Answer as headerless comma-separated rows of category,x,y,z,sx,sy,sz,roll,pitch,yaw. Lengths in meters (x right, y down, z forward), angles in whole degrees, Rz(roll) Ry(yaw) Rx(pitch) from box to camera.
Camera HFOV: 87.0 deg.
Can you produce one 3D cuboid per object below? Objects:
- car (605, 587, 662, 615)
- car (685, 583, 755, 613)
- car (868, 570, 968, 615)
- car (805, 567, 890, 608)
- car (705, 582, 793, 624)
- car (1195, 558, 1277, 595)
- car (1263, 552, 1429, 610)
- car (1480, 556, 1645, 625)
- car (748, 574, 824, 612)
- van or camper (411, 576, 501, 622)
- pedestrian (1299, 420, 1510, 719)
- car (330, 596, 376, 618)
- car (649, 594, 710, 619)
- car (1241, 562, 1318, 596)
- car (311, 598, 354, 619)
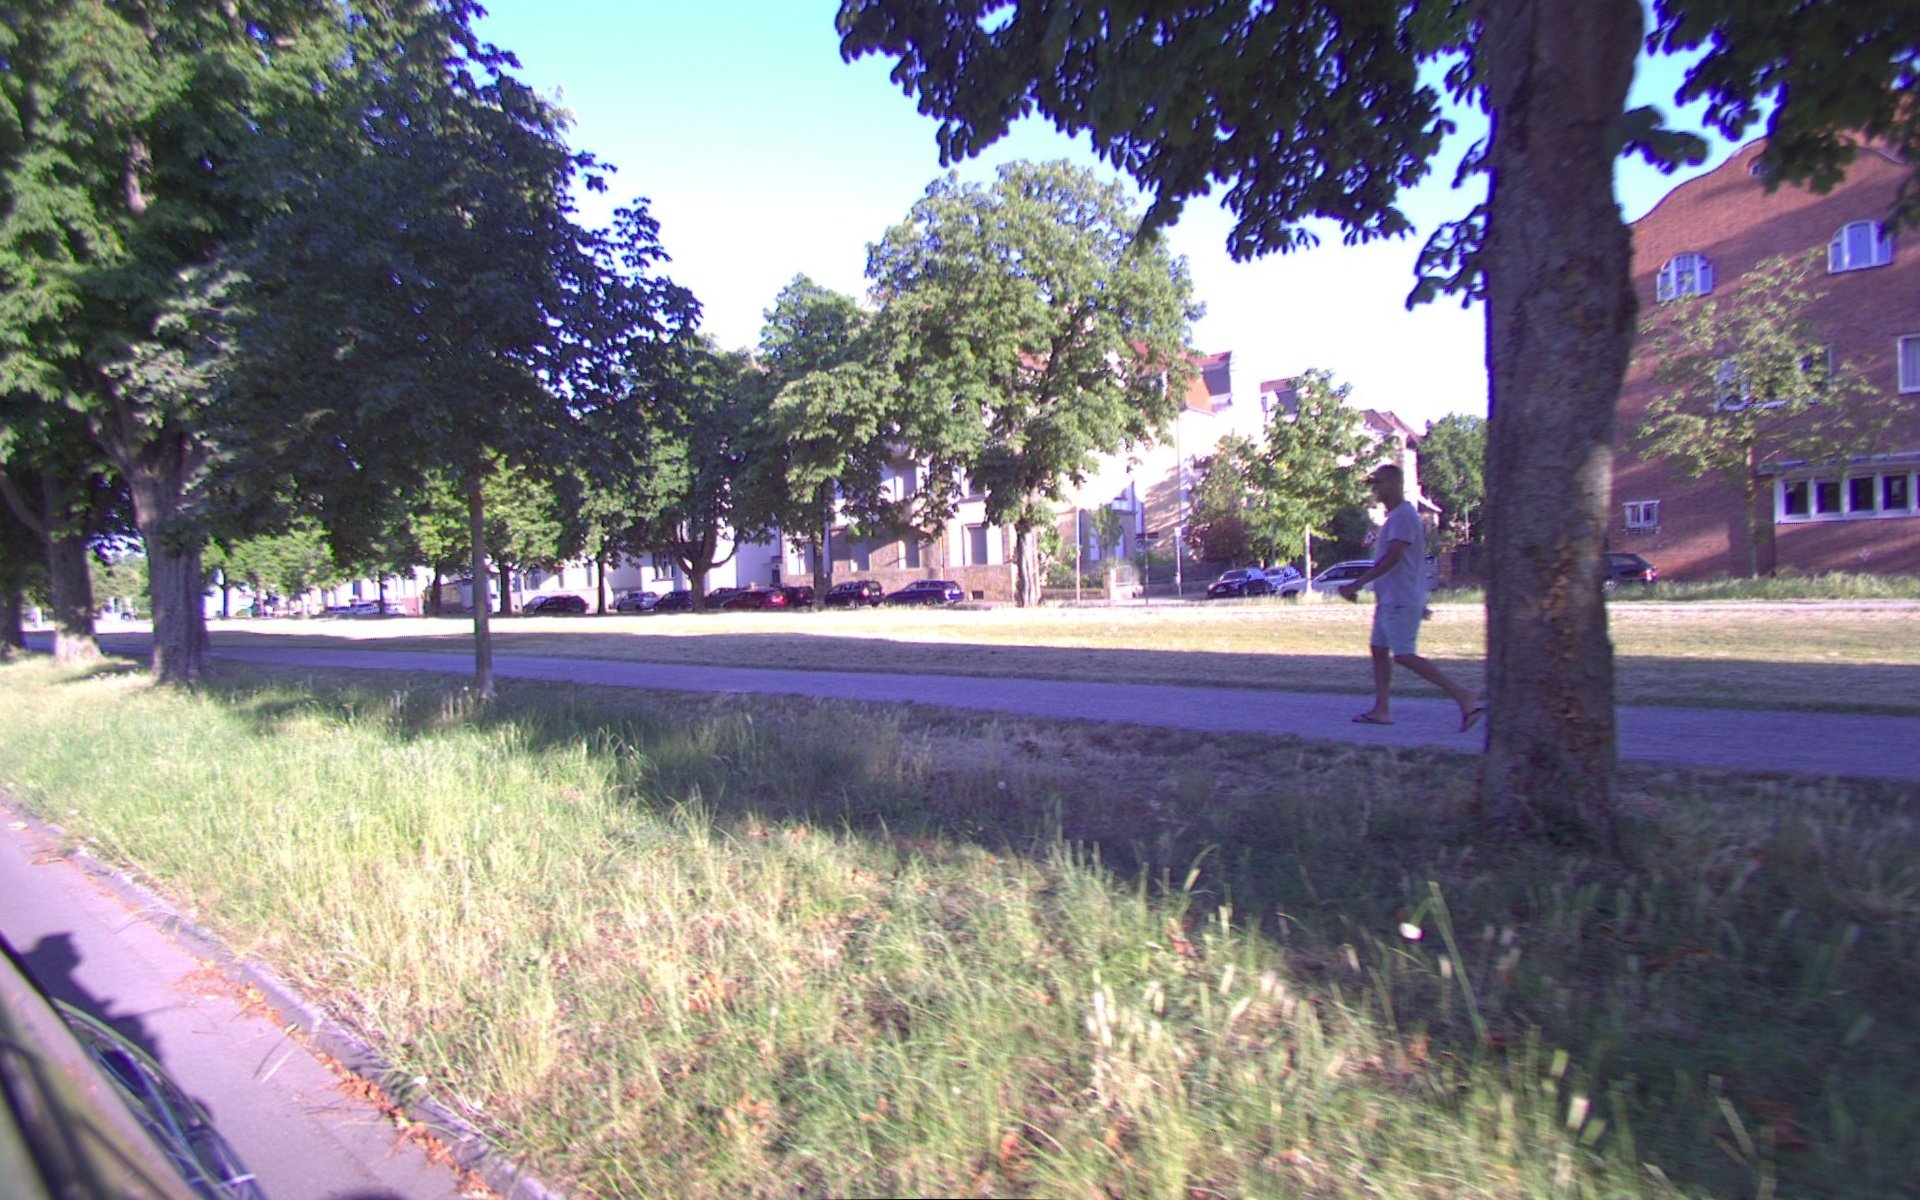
car,-22.689,0.068,70.323,3.999,1.748,1.972,-2,0,42
car,-15.192,-0.121,63.883,4.424,1.665,1.974,-2,1,39
car,-2.214,-0.339,52.624,4.994,1.763,1.977,-4,-10,34
car,-6.309,-0.677,56.413,4.875,2.029,1.972,-2,1,42
car,-11.089,0.177,52.992,4.875,2.029,1.972,-2,1,42
car,13.628,-1.163,49.793,1.999,1.619,4.805,-2,1,41
car,12.400,-0.586,32.717,4.647,1.651,1.801,-2,1,40
car,19.740,-0.292,33.246,4.366,2.029,1.739,-3,0,41
car,-10.285,-0.405,59.756,4.424,2.029,1.974,-2,1,39
van or camper,-38.044,-0.030,76.328,7.892,3.134,3.221,-2,1,41
pedestrian,2.884,-0.177,6.594,0.716,1.771,0.994,-3,0,-43
car,-53.324,0.640,88.881,4.873,1.703,1.973,-2,1,41
car,-18.705,0.429,67.406,4.168,1.440,1.972,-2,1,42
car,17.122,-1.139,54.129,2.188,1.619,4.805,-2,1,41
car,-57.512,0.776,92.692,4.873,1.703,1.973,-2,1,41
